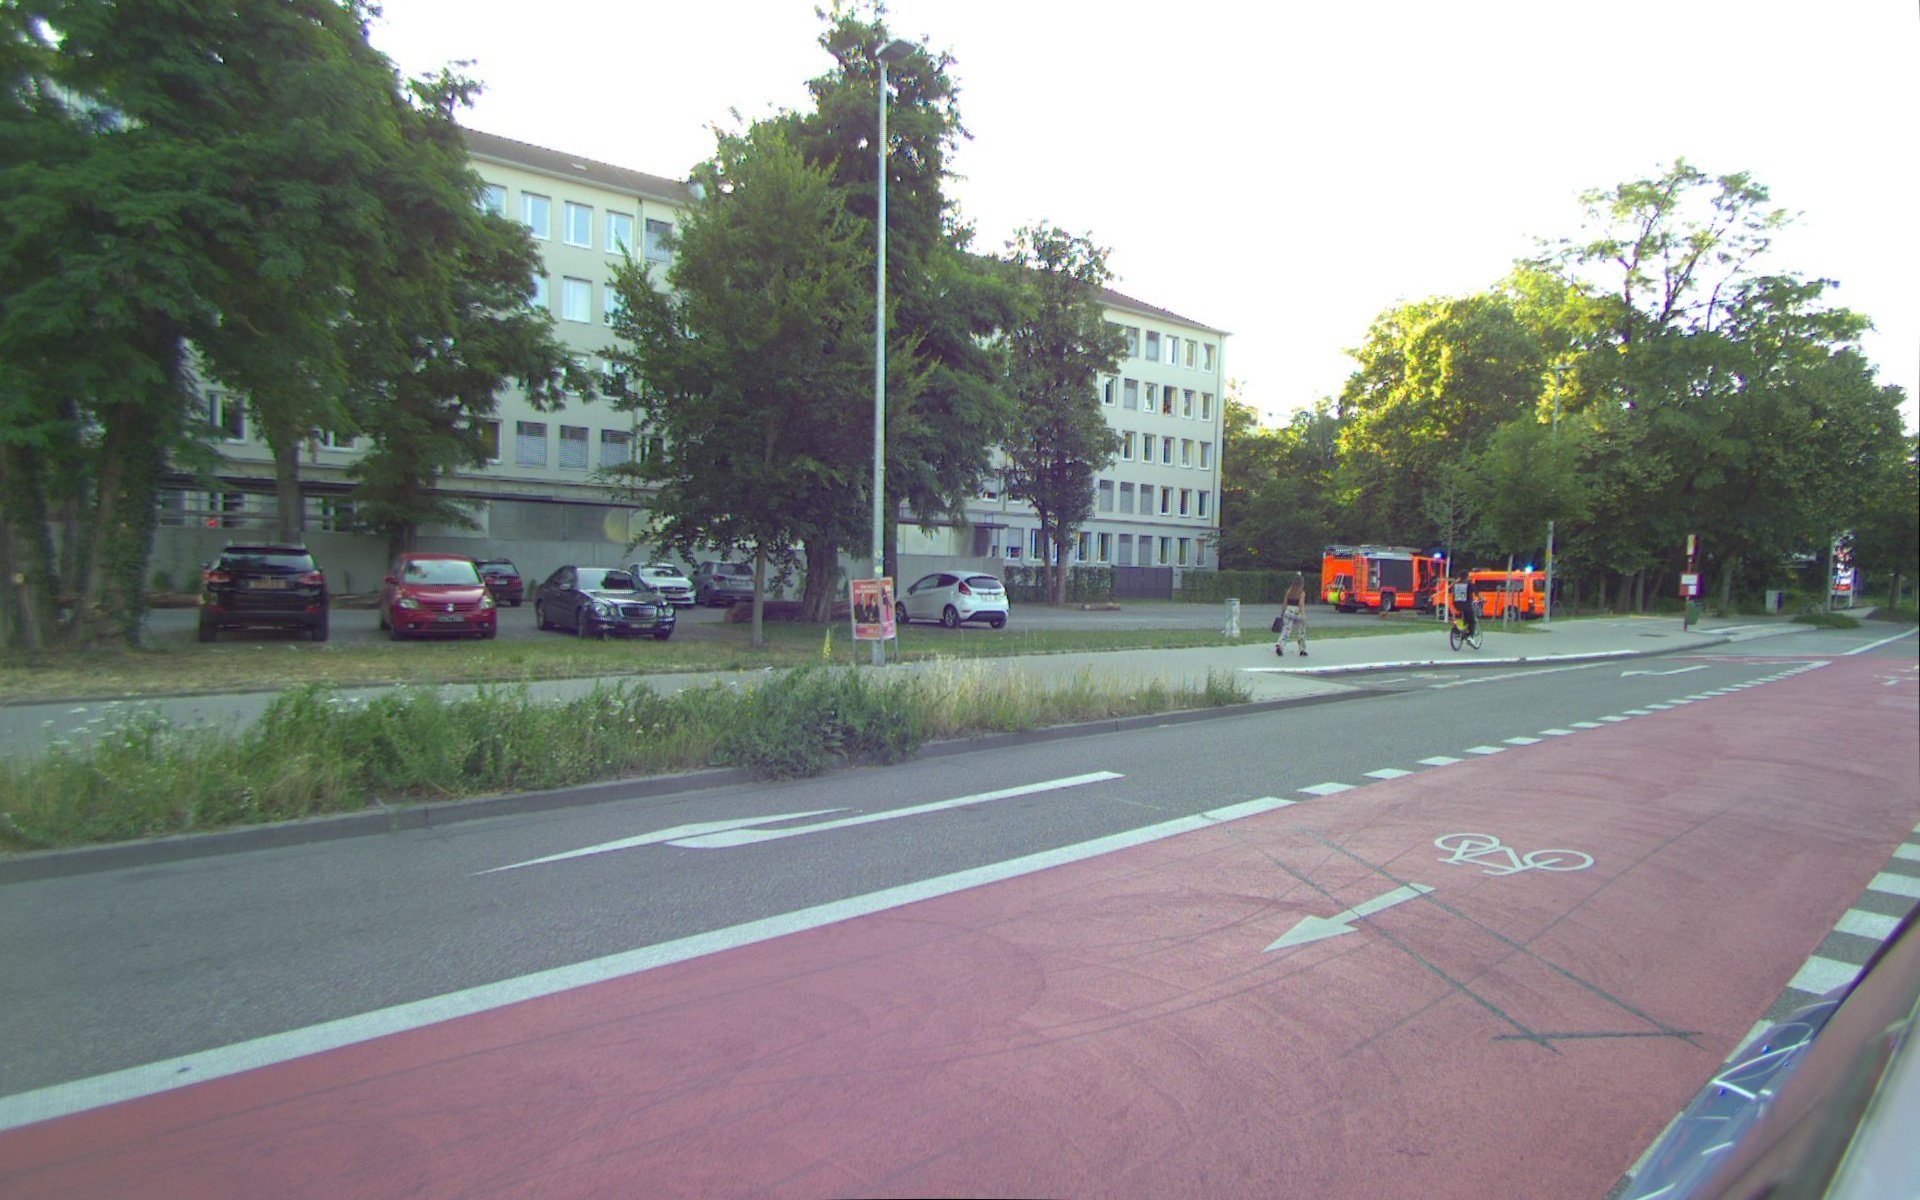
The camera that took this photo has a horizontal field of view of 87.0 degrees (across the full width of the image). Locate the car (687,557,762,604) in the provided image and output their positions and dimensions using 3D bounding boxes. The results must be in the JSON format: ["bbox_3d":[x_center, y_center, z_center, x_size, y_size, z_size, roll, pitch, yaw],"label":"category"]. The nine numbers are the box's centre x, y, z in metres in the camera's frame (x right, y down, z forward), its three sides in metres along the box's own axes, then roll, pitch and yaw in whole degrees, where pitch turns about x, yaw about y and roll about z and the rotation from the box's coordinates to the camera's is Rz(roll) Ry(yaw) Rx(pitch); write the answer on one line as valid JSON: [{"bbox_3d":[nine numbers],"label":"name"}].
[{"bbox_3d":[-8.208,-0.702,35.080,1.734,1.477,3.320,1,2,-27],"label":"car"}]

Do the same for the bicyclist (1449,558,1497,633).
[{"bbox_3d":[11.566,-0.110,22.801,1.019,1.652,0.571,0,2,-41],"label":"bicyclist"}]

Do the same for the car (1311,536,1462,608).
[{"bbox_3d":[20.961,-1.351,49.513,8.138,3.283,2.775,0,2,-34],"label":"car"}]

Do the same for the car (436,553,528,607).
[{"bbox_3d":[-14.531,-0.638,30.696,1.738,1.477,3.626,0,3,-38],"label":"car"}]

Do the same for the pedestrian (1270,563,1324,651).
[{"bbox_3d":[6.516,0.124,19.591,0.676,1.642,0.682,1,2,-41],"label":"pedestrian"}]

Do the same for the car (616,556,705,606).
[{"bbox_3d":[-10.024,-0.659,33.682,1.880,1.540,3.921,0,2,-32],"label":"car"}]

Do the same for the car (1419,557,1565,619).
[{"bbox_3d":[22.775,-0.570,43.550,1.963,2.422,5.168,0,2,-37],"label":"car"}]

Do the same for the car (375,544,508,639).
[{"bbox_3d":[-10.115,-0.231,19.594,1.882,1.630,4.003,0,2,-33],"label":"car"}]

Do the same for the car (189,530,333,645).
[{"bbox_3d":[-12.296,-0.292,17.860,1.882,1.761,4.241,0,2,-35],"label":"car"}]

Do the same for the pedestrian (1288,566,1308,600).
[{"bbox_3d":[18.493,-0.934,55.400,0.839,1.864,0.675,3,1,32],"label":"pedestrian"}]

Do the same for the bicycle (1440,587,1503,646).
[{"bbox_3d":[11.519,0.346,22.779,1.866,1.256,0.571,0,2,-41],"label":"bicycle"}]

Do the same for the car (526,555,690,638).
[{"bbox_3d":[-7.390,-0.142,20.986,1.883,1.482,4.519,0,3,-37],"label":"car"}]

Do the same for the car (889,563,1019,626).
[{"bbox_3d":[-0.227,-0.191,26.852,1.633,1.477,3.667,0,2,-35],"label":"car"}]
